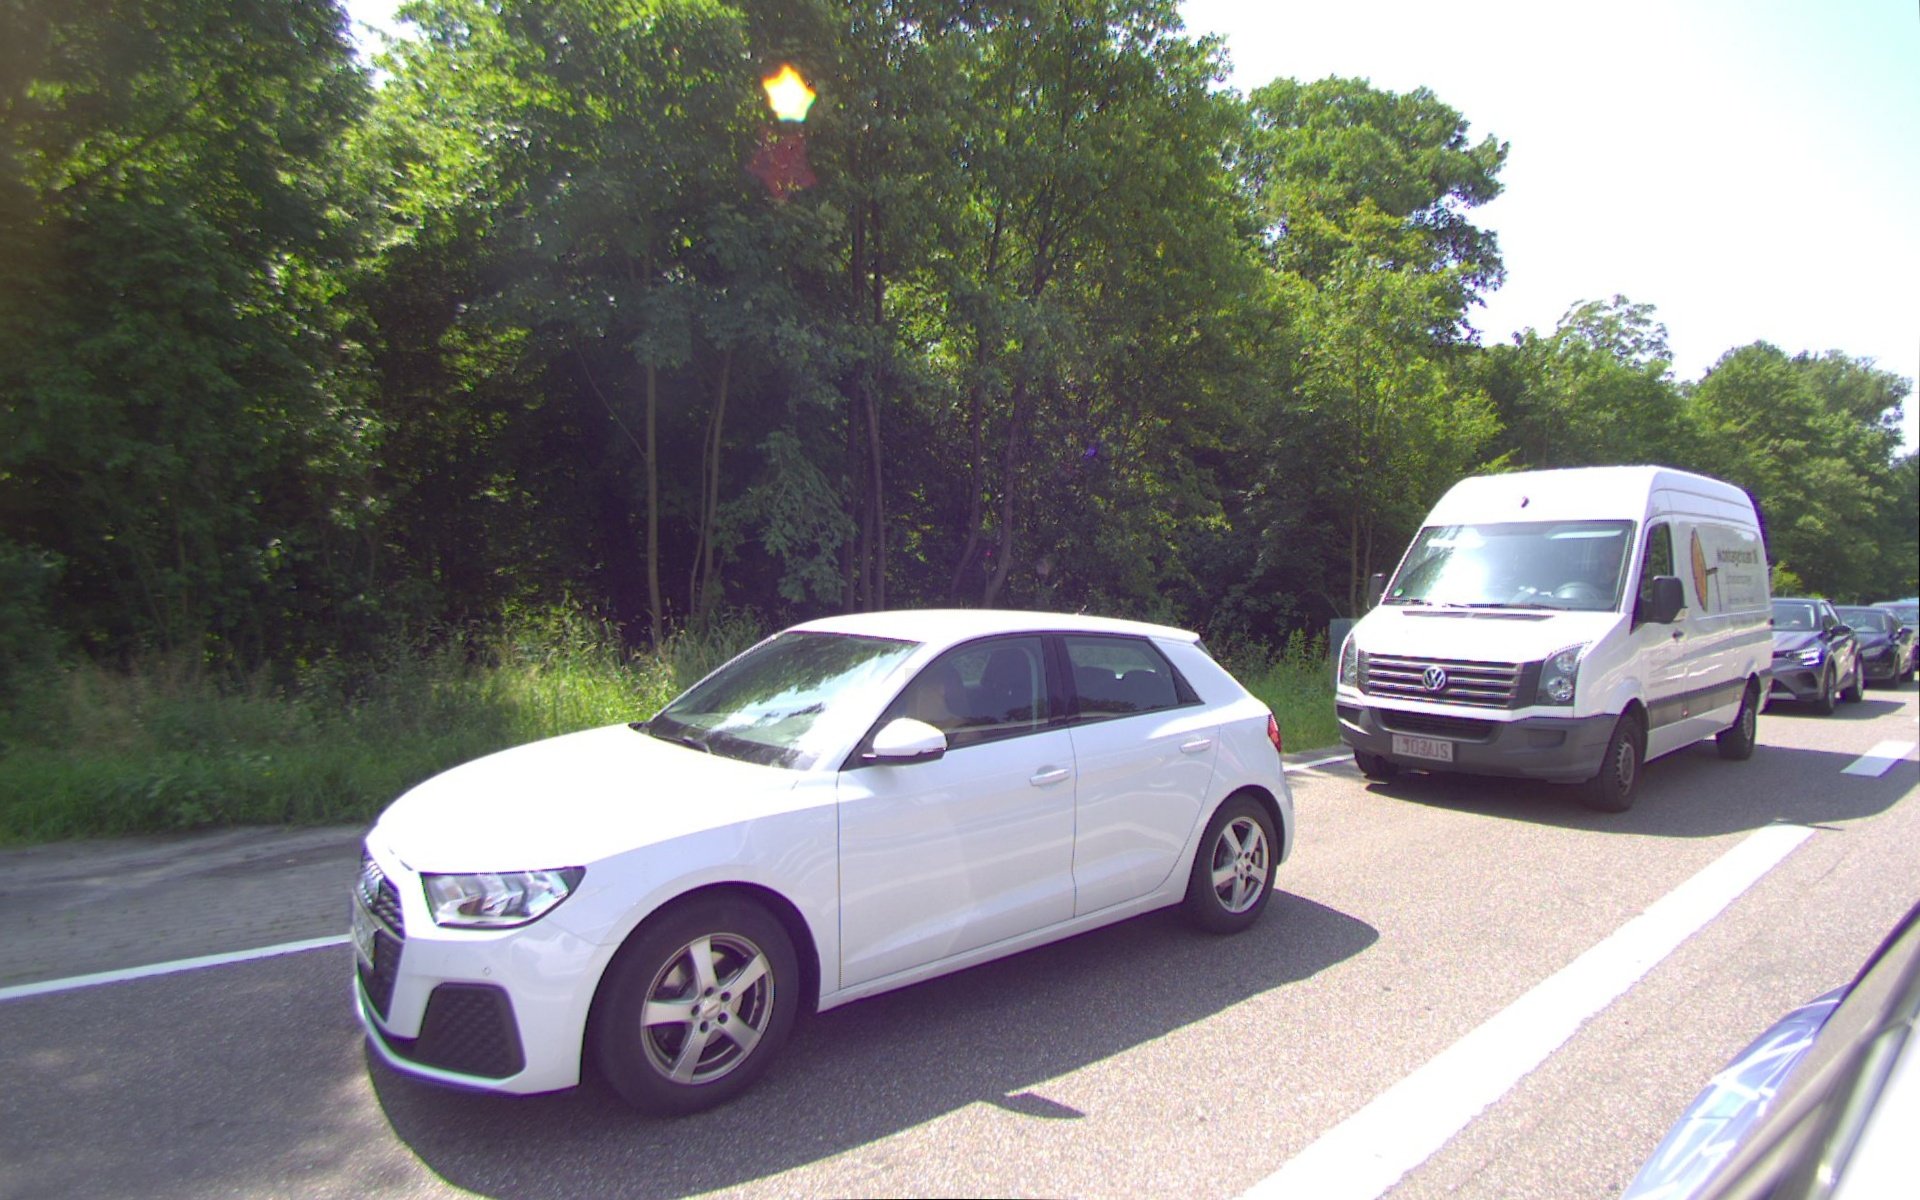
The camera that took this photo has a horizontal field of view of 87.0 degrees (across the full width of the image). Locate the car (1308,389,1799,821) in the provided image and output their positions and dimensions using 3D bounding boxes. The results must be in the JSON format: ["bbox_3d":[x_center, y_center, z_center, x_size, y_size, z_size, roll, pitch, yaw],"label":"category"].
[{"bbox_3d":[5.557,0.031,8.982,5.953,2.679,1.973,0,0,-41],"label":"car"}]

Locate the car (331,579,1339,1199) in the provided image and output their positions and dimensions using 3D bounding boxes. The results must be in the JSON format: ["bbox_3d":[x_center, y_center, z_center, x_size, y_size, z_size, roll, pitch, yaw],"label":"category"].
[{"bbox_3d":[-0.250,0.683,4.270,3.927,1.454,1.693,0,-1,-39],"label":"car"}]

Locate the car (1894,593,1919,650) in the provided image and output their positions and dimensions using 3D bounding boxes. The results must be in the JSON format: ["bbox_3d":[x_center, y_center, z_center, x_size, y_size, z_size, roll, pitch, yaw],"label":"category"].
[{"bbox_3d":[26.779,0.567,27.448,4.157,1.457,1.794,0,1,-43],"label":"car"}]

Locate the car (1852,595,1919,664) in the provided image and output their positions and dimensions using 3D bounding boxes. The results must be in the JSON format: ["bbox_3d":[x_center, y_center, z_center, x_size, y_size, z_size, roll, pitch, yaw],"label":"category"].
[{"bbox_3d":[21.971,0.625,23.246,4.157,1.457,1.794,0,1,-43],"label":"car"}]

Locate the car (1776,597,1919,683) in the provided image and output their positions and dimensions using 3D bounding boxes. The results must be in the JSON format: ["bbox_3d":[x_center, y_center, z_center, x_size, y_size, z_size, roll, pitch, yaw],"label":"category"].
[{"bbox_3d":[16.609,0.643,18.702,4.157,1.372,1.794,0,1,-43],"label":"car"}]

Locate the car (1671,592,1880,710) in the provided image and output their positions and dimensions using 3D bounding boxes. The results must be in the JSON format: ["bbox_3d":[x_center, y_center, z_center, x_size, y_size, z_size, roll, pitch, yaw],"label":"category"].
[{"bbox_3d":[11.946,0.626,14.721,4.157,1.479,1.794,0,0,-43],"label":"car"}]
